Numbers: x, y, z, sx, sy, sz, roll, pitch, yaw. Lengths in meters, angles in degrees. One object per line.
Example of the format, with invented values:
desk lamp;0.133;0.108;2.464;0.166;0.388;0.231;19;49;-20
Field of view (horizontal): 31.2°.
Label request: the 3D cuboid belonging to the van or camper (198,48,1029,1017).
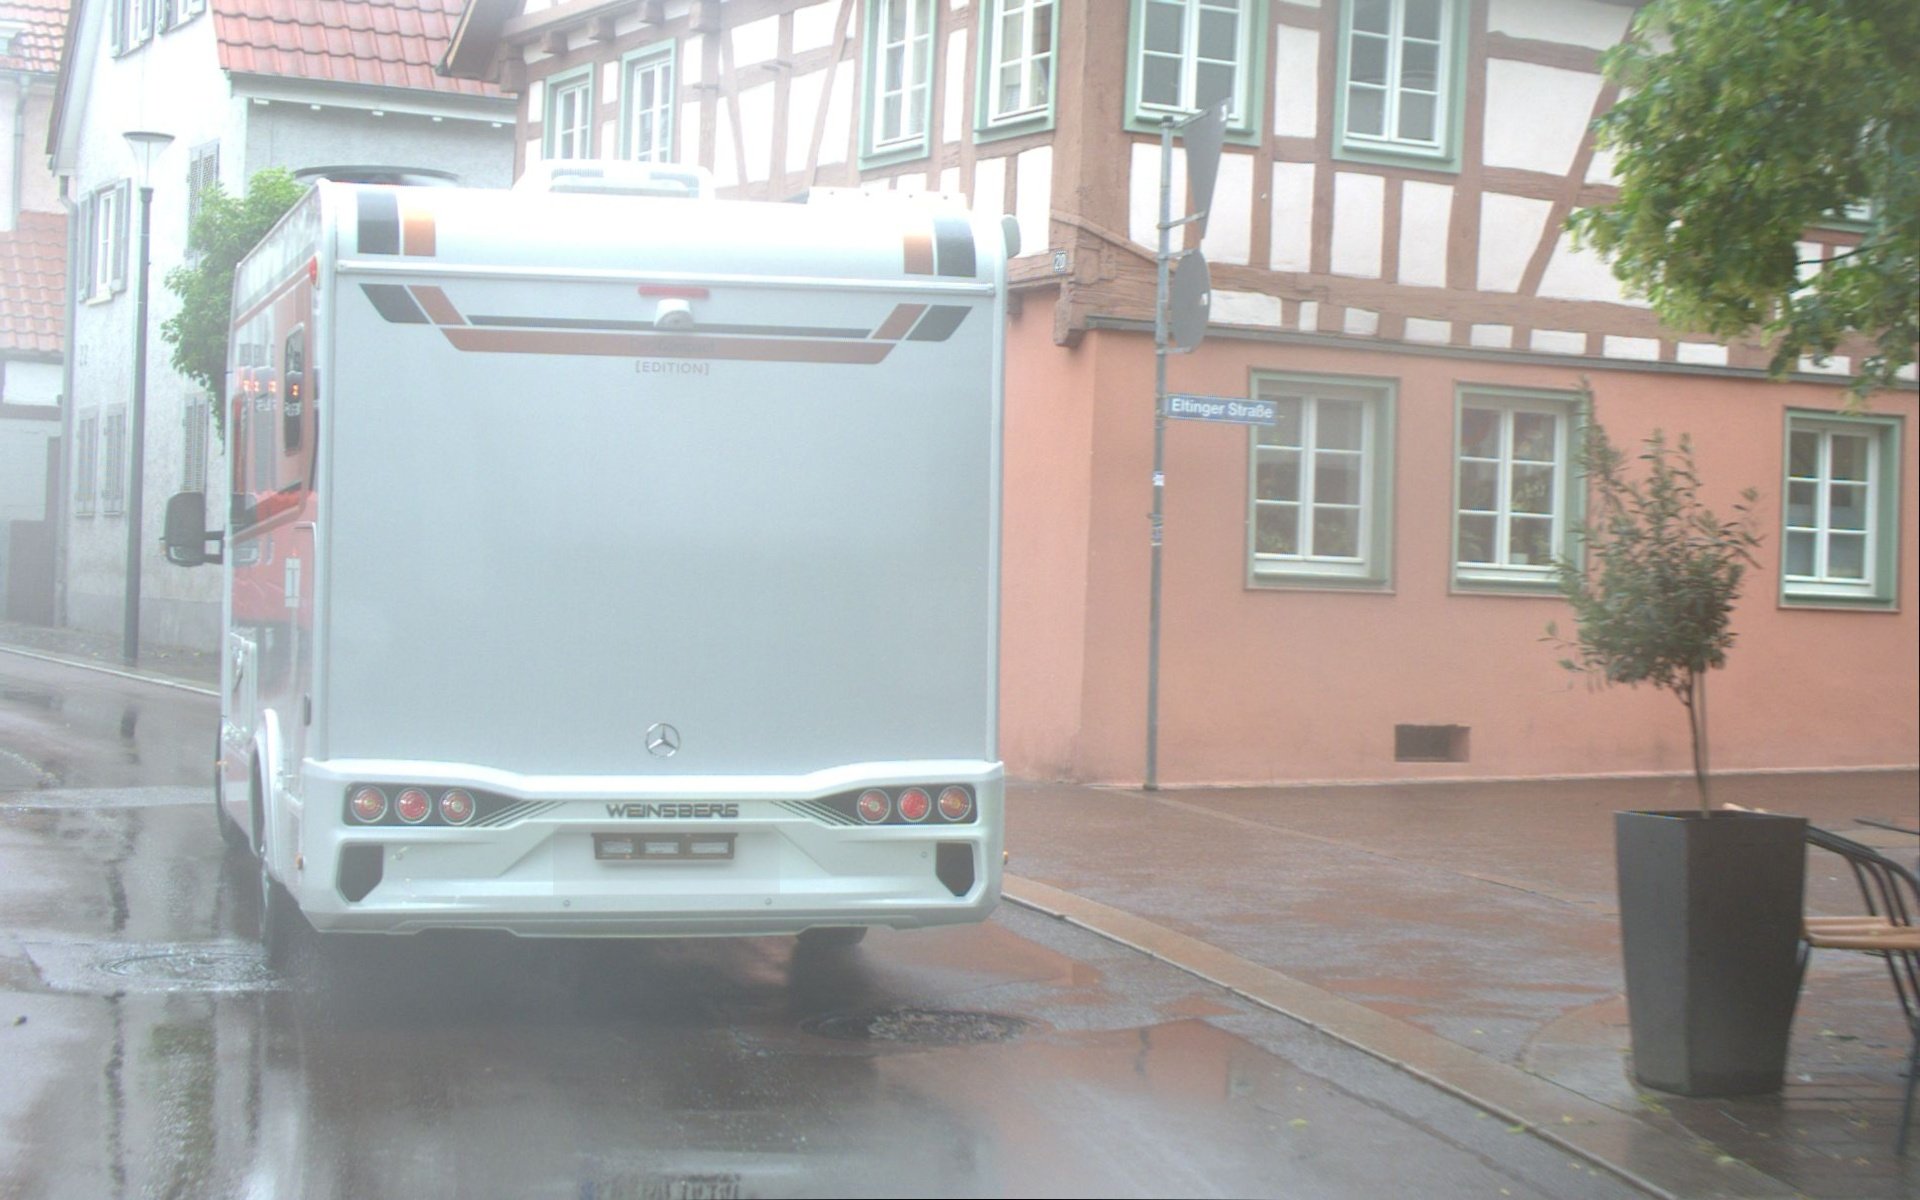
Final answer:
van or camper;-1.721;-0.204;13.707;2.325;2.909;6.395;1;0;-14
